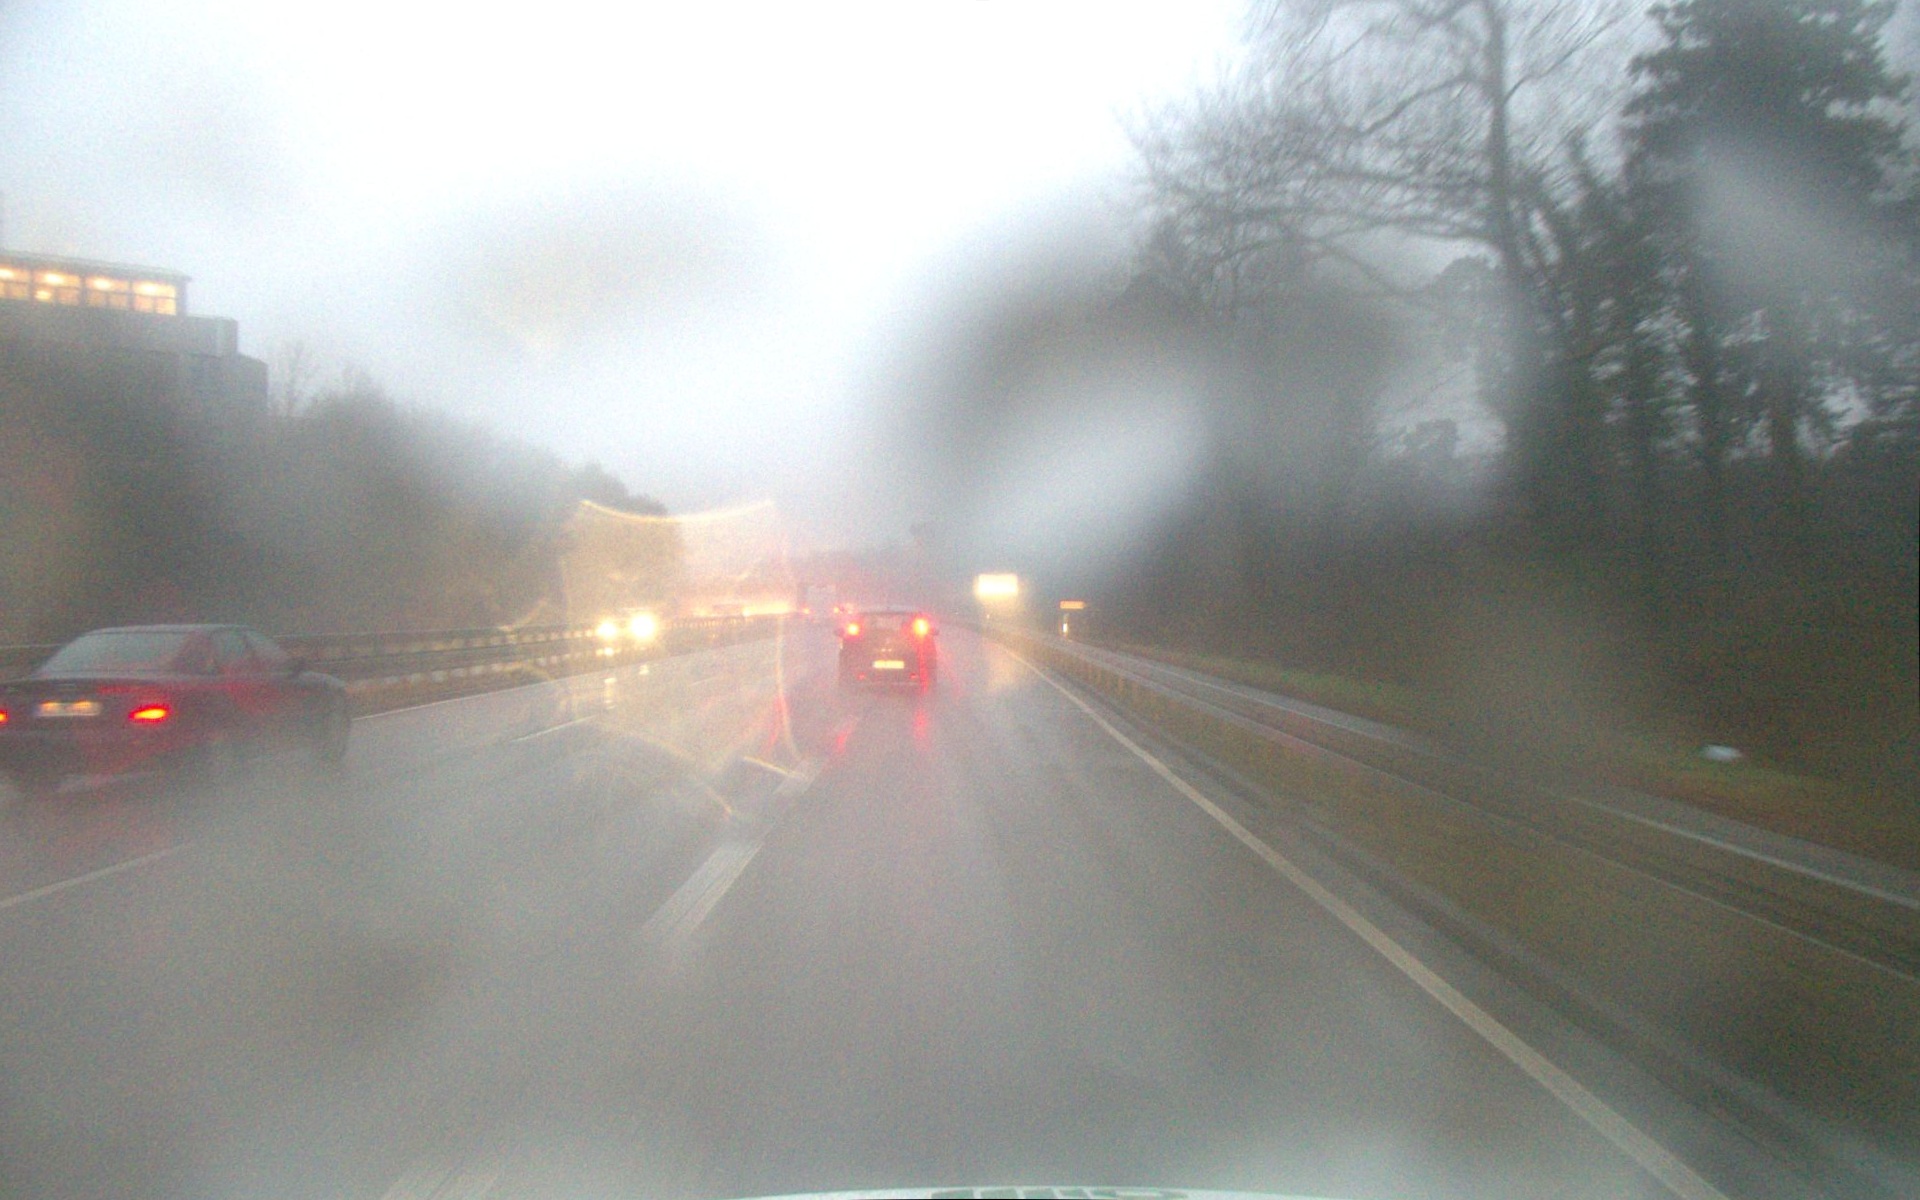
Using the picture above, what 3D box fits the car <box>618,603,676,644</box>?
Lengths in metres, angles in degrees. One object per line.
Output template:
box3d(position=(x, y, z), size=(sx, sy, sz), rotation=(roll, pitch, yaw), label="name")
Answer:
box3d(position=(-13.420, 0.986, 71.152), size=(1.805, 1.686, 4.666), rotation=(0, 0, -2), label="car")

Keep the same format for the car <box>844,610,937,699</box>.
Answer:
box3d(position=(-1.257, 0.923, 29.406), size=(1.497, 1.440, 3.476), rotation=(2, 0, -3), label="car")

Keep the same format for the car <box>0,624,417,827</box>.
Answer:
box3d(position=(-6.846, 1.082, 15.637), size=(1.739, 1.561, 4.702), rotation=(-2, -2, 1), label="car")
